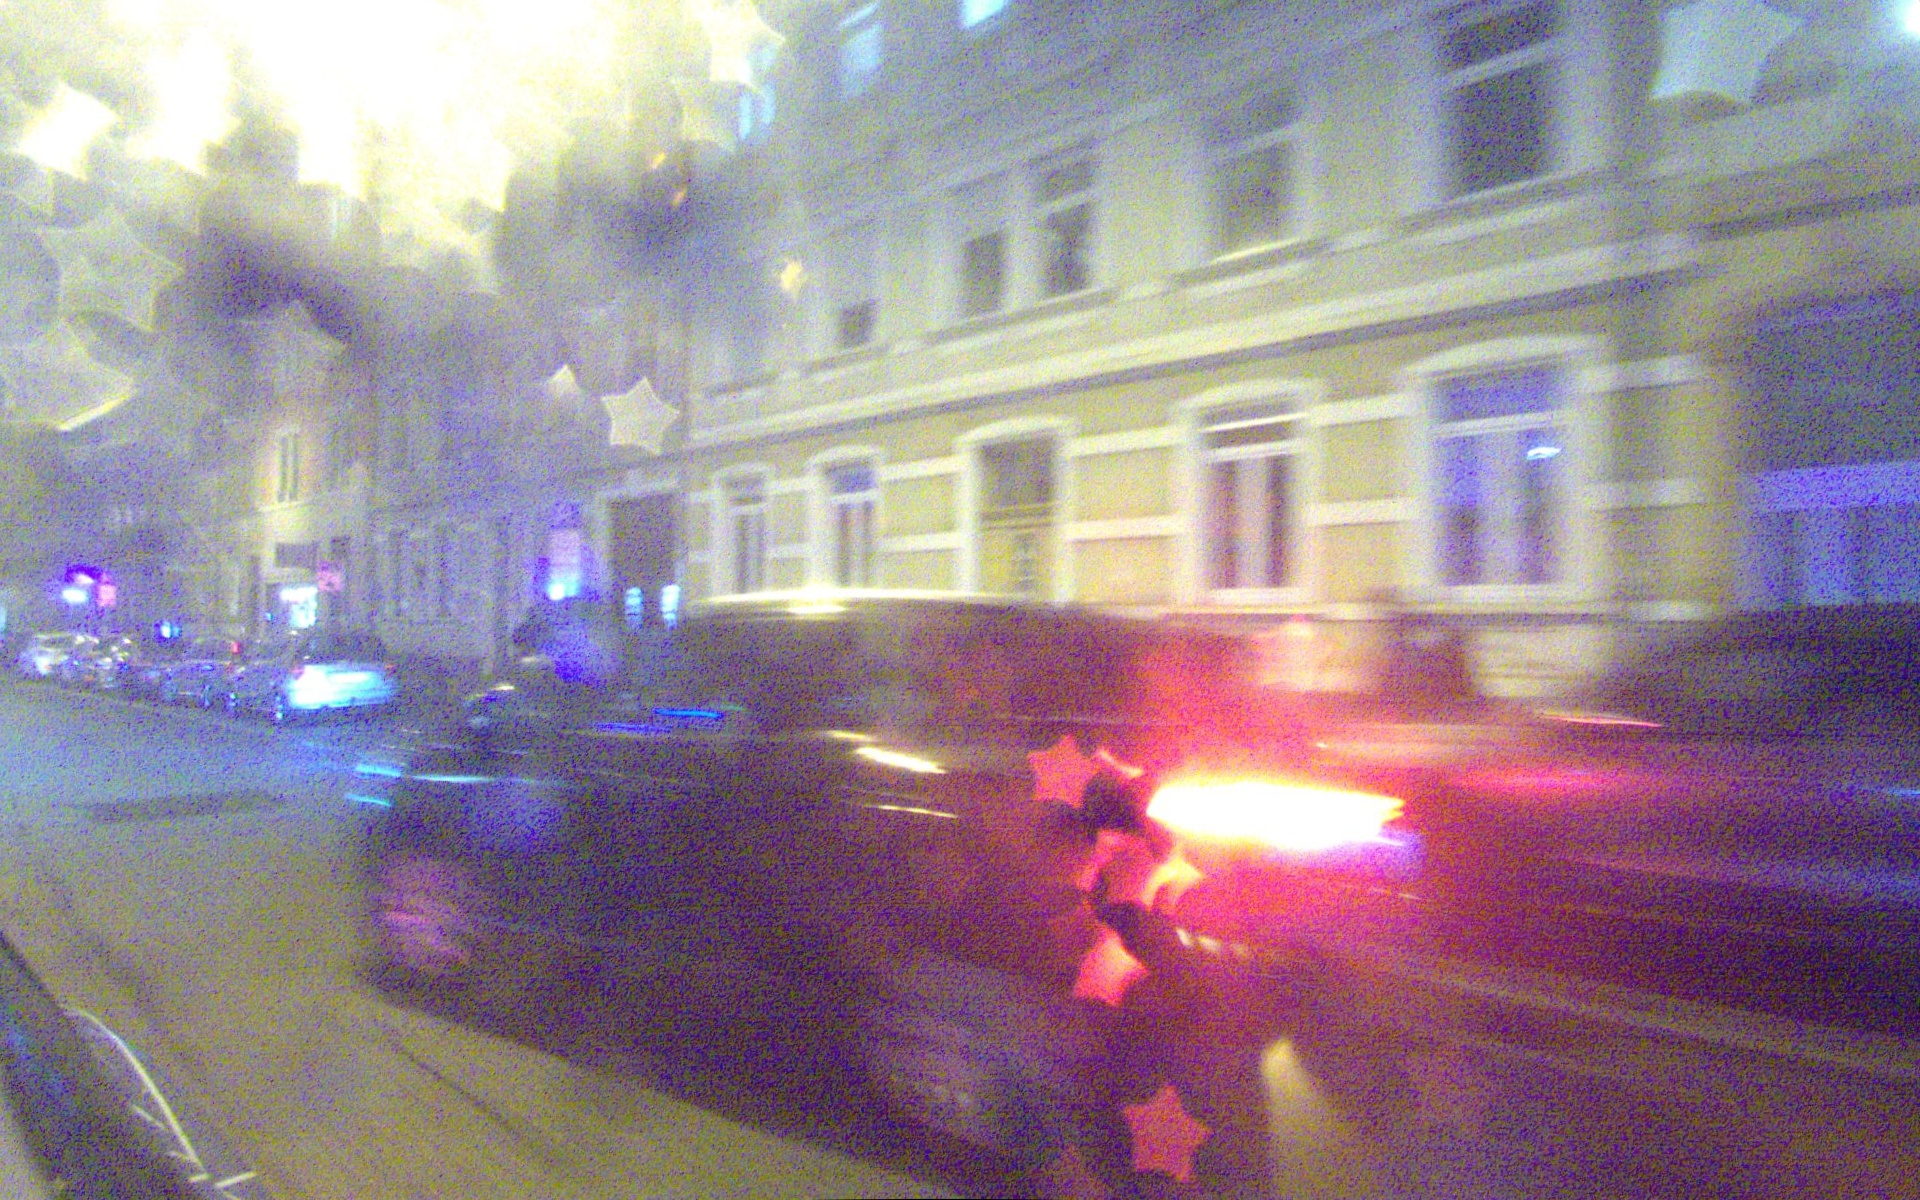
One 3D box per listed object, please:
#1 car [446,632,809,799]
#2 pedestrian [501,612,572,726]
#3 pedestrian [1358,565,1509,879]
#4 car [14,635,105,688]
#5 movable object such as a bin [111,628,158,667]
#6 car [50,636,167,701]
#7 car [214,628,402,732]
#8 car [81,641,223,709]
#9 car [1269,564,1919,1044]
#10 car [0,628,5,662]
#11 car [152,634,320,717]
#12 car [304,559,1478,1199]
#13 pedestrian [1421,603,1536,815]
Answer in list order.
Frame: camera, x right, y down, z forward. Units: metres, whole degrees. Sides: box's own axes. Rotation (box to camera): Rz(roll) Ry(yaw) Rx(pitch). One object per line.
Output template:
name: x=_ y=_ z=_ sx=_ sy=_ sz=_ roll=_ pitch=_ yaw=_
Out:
car: x=-3.915 y=1.132 z=11.494 sx=4.591 sy=1.497 sz=1.814 roll=-1 pitch=-2 yaw=41
pedestrian: x=-7.124 y=1.125 z=17.024 sx=0.987 sy=1.818 sz=0.735 roll=-1 pitch=0 yaw=44
pedestrian: x=3.159 y=0.777 z=6.810 sx=0.762 sy=1.988 sz=0.655 roll=-1 pitch=0 yaw=13
car: x=-28.505 y=1.896 z=32.013 sx=3.719 sy=1.502 sz=1.655 roll=-1 pitch=-1 yaw=40
movable object such as a bin: x=-31.792 y=1.820 z=38.981 sx=1.377 sy=1.465 sz=1.090 roll=-1 pitch=-3 yaw=38
car: x=-23.169 y=1.798 z=27.505 sx=4.131 sy=1.584 sz=1.756 roll=-1 pitch=-2 yaw=40
car: x=-11.357 y=1.291 z=17.553 sx=3.763 sy=1.600 sz=1.727 roll=-1 pitch=-2 yaw=40
car: x=-19.133 y=1.692 z=23.907 sx=4.422 sy=1.400 sz=1.803 roll=-1 pitch=-2 yaw=40
car: x=3.930 y=0.751 z=4.451 sx=4.591 sy=1.730 sz=1.814 roll=-1 pitch=-2 yaw=41
car: x=-45.737 y=2.117 z=46.870 sx=4.769 sy=1.494 sz=1.749 roll=-2 pitch=1 yaw=41
car: x=-14.917 y=1.469 z=20.775 sx=4.304 sy=1.492 sz=1.814 roll=-1 pitch=-2 yaw=40
car: x=-0.503 y=0.814 z=4.170 sx=4.559 sy=1.630 sz=1.906 roll=-1 pitch=-4 yaw=32
pedestrian: x=4.074 y=0.820 z=7.992 sx=0.758 sy=1.564 sz=0.652 roll=-1 pitch=0 yaw=26
